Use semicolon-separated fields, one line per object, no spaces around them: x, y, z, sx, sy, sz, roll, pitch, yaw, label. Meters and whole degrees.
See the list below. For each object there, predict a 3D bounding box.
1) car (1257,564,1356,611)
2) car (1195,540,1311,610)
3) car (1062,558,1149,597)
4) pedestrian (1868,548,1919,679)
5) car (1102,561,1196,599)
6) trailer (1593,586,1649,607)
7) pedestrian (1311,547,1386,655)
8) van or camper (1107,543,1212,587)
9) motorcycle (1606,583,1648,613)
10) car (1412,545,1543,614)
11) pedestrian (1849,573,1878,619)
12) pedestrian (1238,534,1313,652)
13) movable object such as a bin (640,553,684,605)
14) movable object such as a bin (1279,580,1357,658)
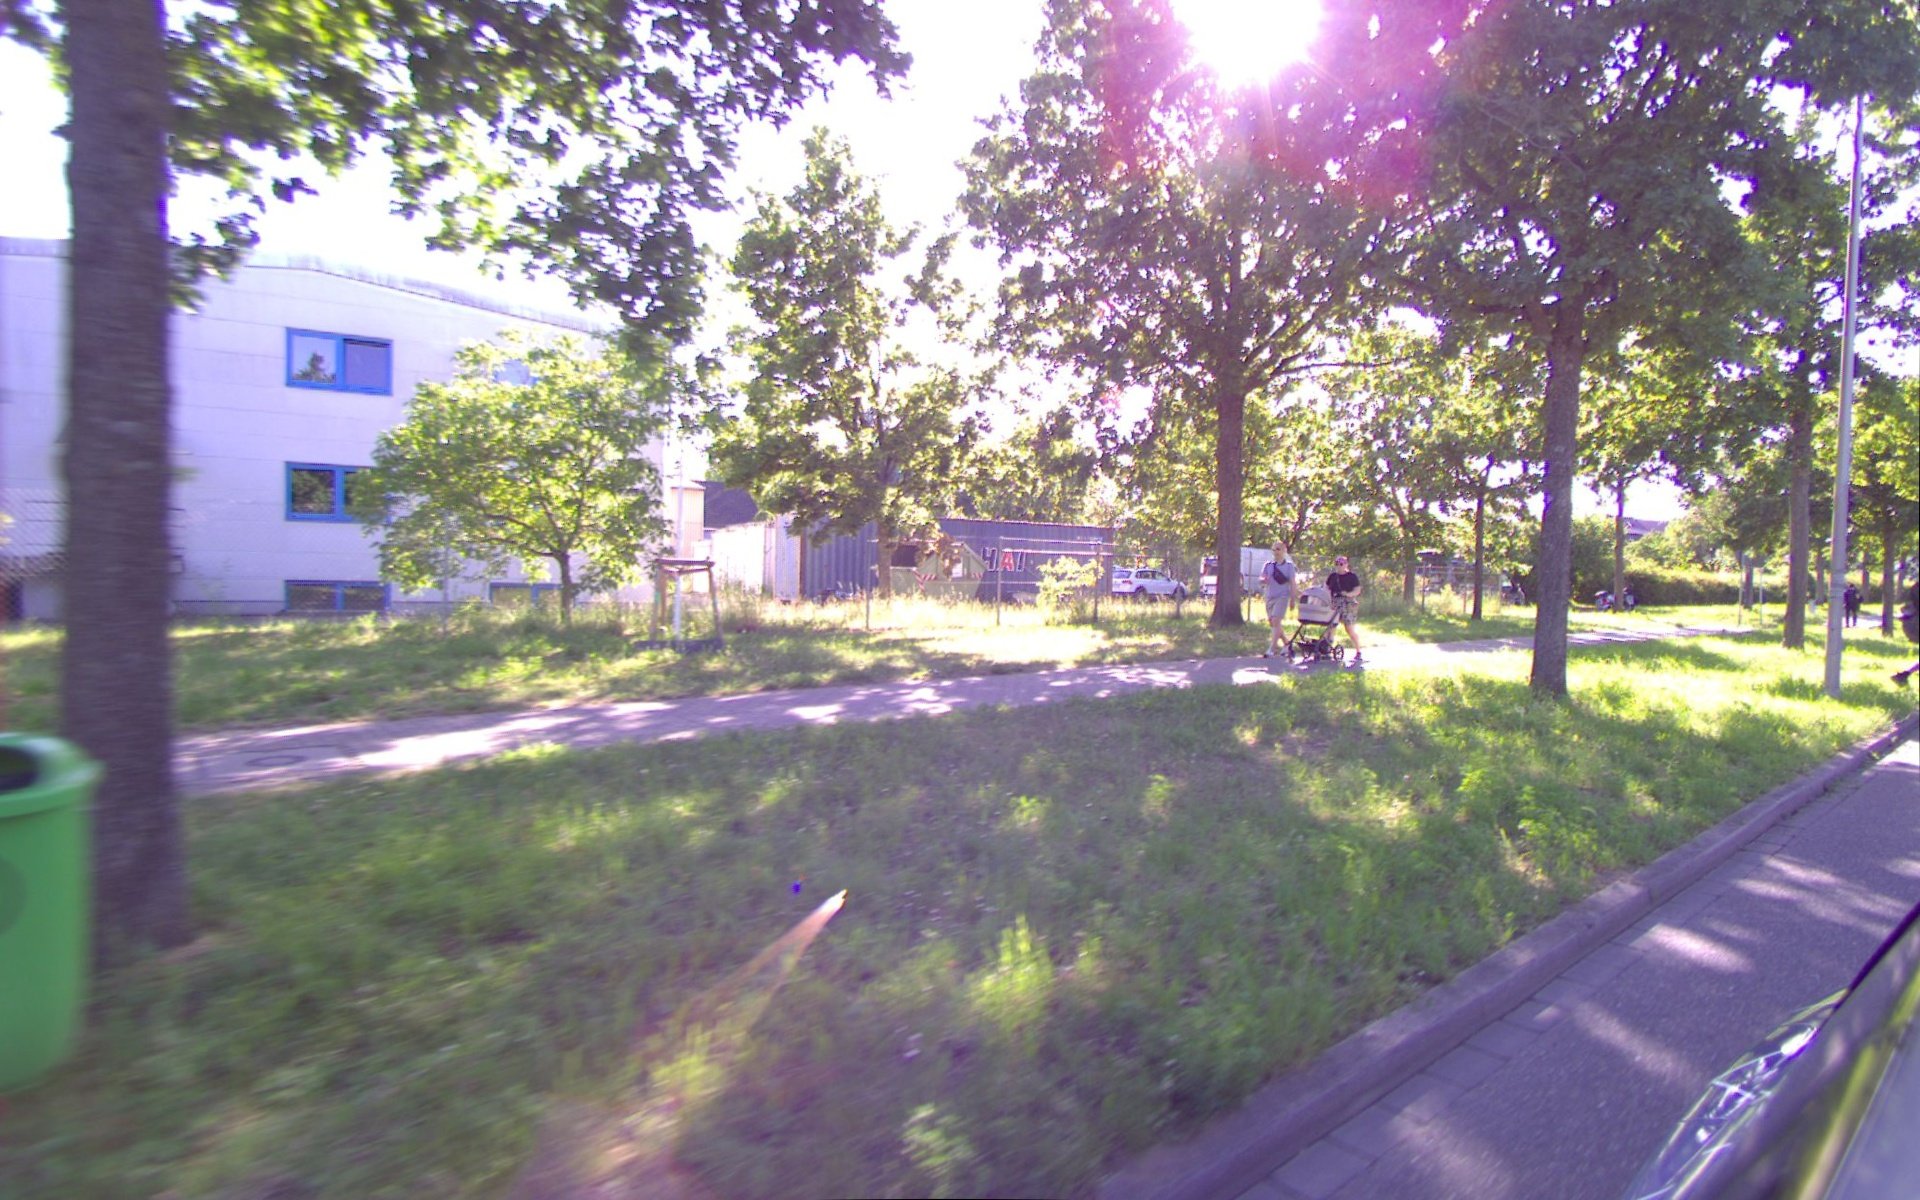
13.242;-0.490;38.585;3.533;1.684;2.010;0;2;-40;car
11.872;-1.009;40.877;4.765;2.675;2.165;0;2;-40;car
7.272;-1.131;50.433;3.922;1.845;2.002;0;2;-33;car
12.892;0.178;13.247;1.083;1.672;1.018;2;2;14;pedestrian
8.849;-0.930;47.499;3.915;1.660;1.845;1;2;-19;car
33.096;-0.181;50.711;2.013;0.878;1.586;-4;4;-28;trailer
6.061;0.006;15.802;0.852;1.623;0.727;0;2;-41;pedestrian
12.735;-2.194;64.490;6.640;2.606;2.191;0;2;-28;van or camper
32.205;-0.118;48.878;2.359;1.246;0.666;-4;4;-28;motorcycle
22.783;-0.843;44.478;5.849;2.599;2.094;3;-1;-28;car
36.943;-0.174;41.398;0.852;1.834;0.727;0;2;-41;pedestrian
4.931;-0.120;15.815;0.852;1.777;0.727;0;2;-41;pedestrian
-8.419;-0.606;28.556;1.037;1.424;1.191;1;2;-23;movable object such as a bin
5.399;0.272;15.260;0.852;1.094;0.727;0;4;-41;movable object such as a bin
